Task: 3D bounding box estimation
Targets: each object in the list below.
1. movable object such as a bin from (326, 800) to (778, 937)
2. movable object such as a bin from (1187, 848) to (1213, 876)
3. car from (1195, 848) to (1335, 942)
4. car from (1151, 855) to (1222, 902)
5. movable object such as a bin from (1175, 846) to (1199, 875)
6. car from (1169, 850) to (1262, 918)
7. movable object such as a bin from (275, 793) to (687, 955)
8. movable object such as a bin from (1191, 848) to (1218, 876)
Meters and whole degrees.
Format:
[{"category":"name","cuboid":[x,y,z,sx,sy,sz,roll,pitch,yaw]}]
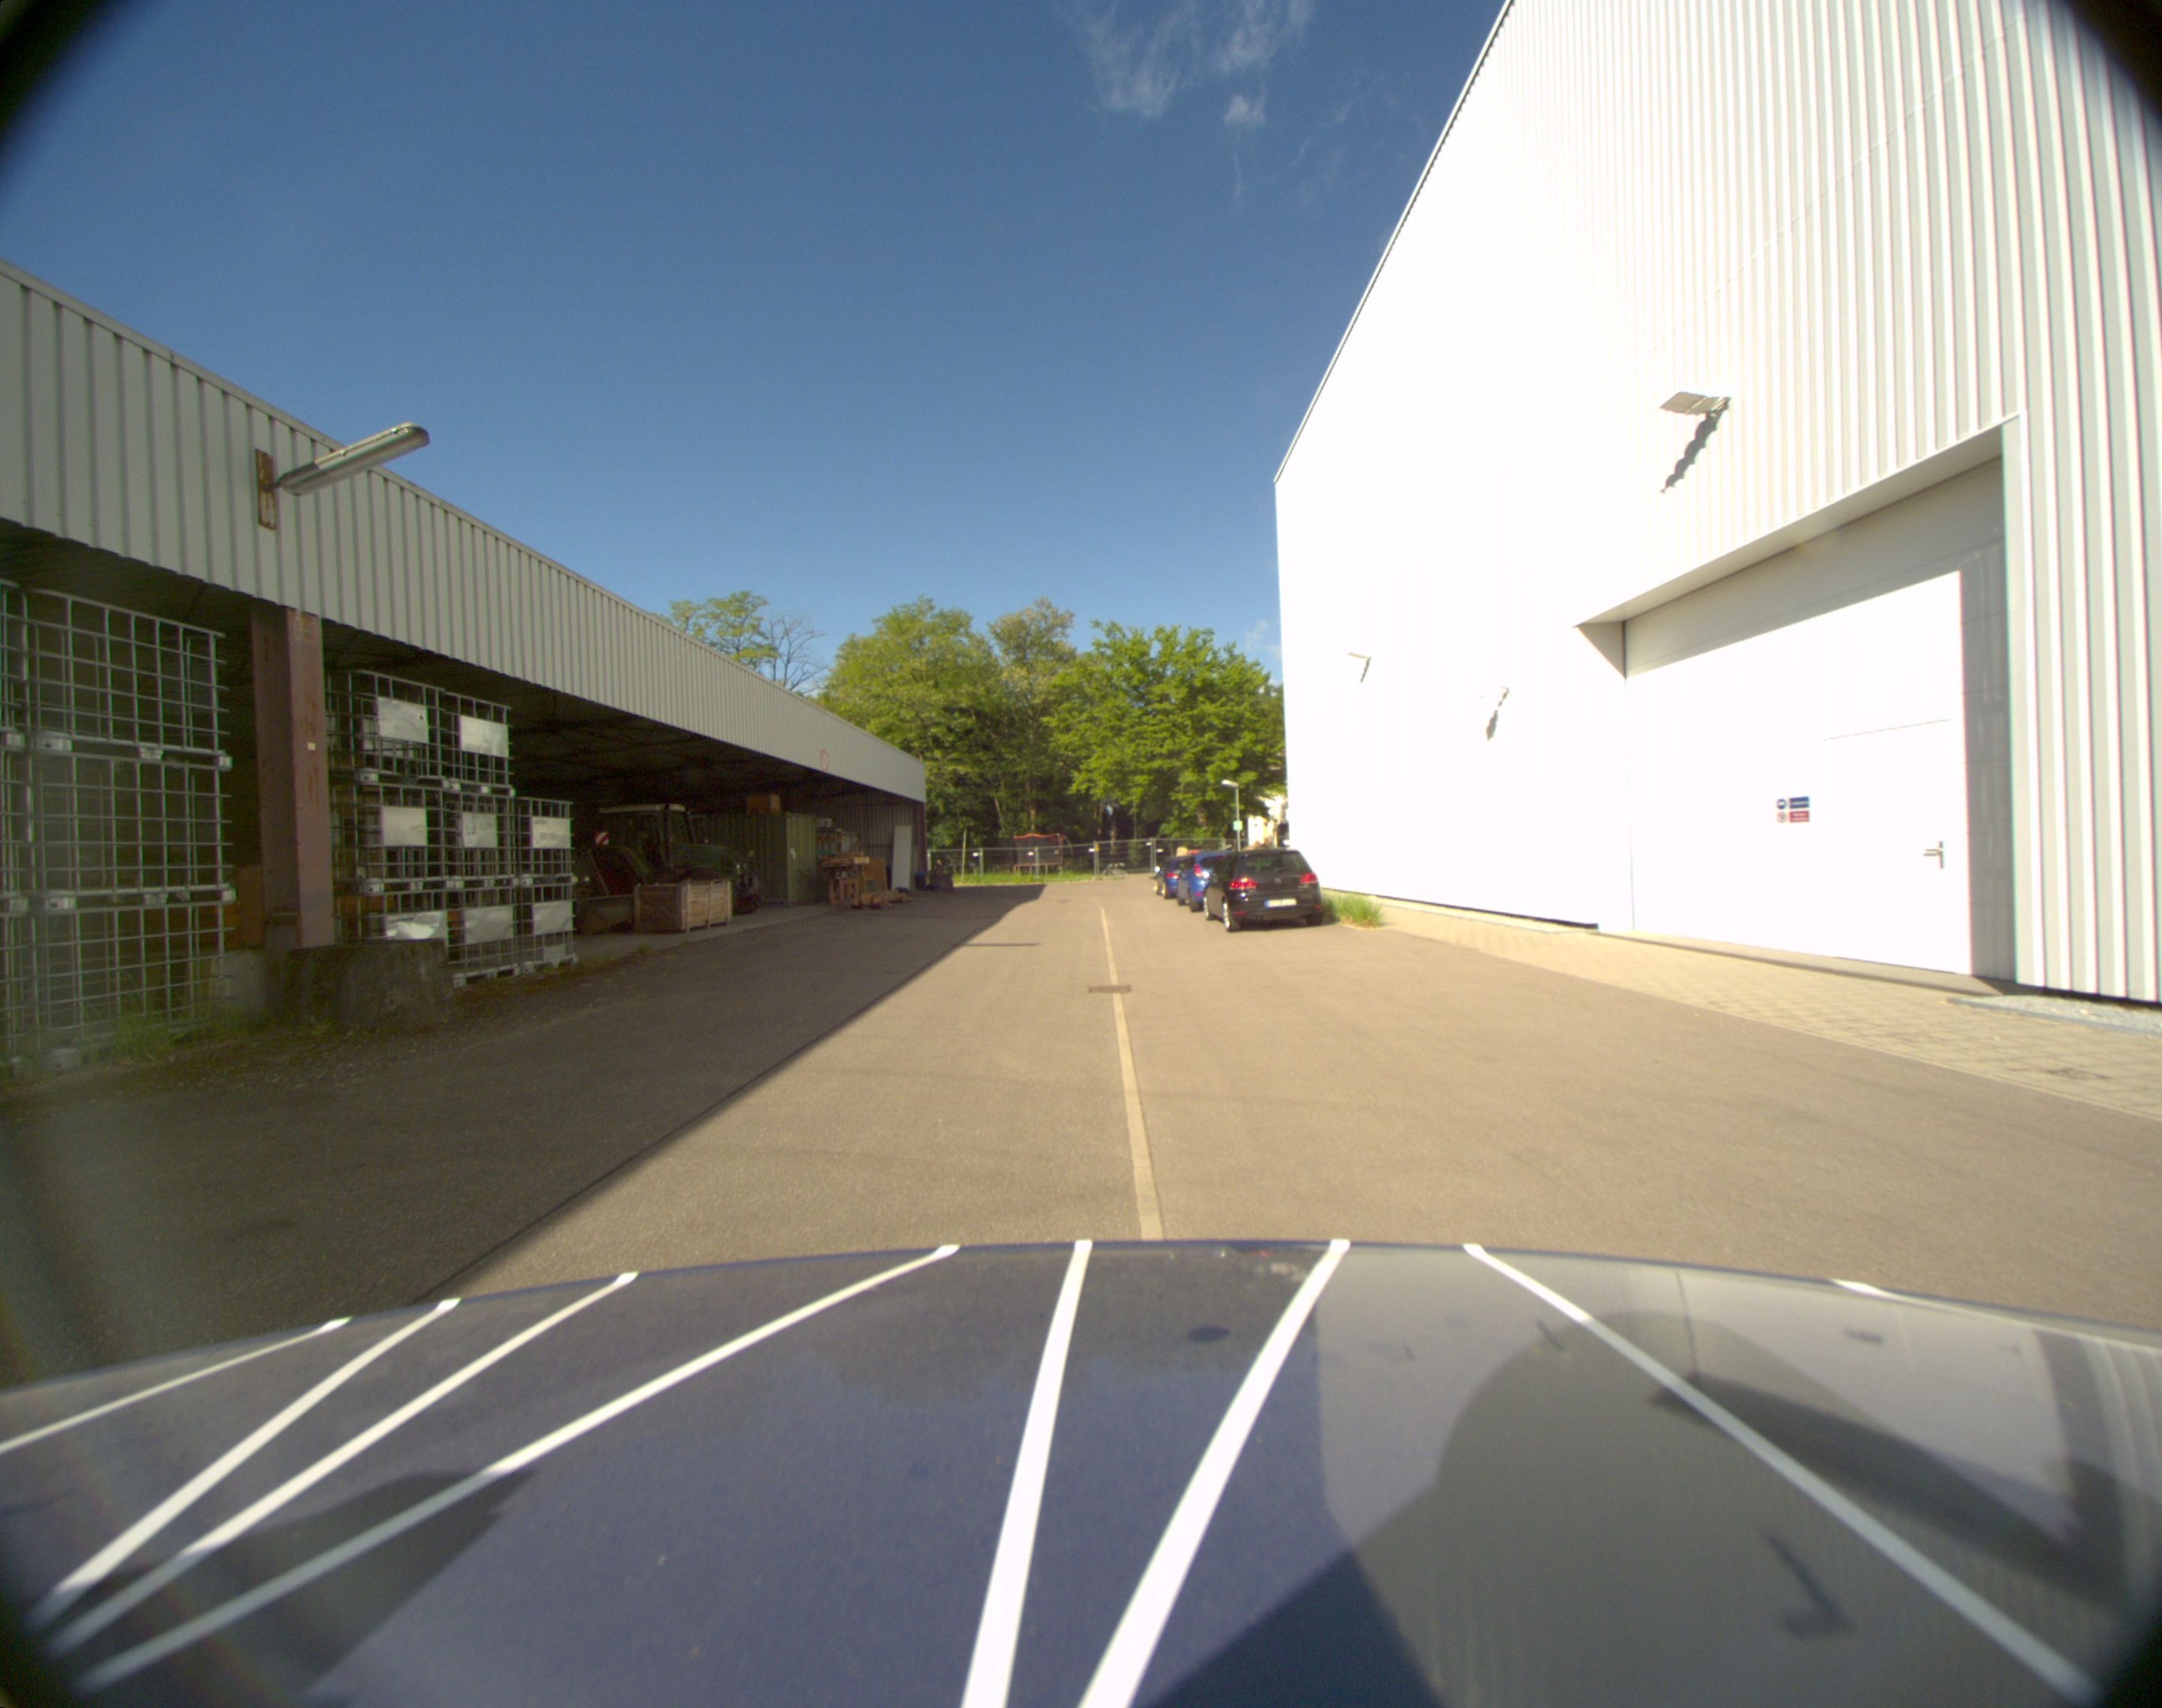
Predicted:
[{"category":"movable object such as a bin","cuboid":[-12.984,0.335,19.282,9.214,2.893,3.212,-2,0,2]},{"category":"movable object such as a bin","cuboid":[6.630,0.431,42.337,1.093,1.431,1.230,-4,1,-5]},{"category":"car","cuboid":[3.462,0.697,15.113,1.759,1.491,4.294,-4,0,1]},{"category":"car","cuboid":[3.479,0.756,25.631,1.778,1.353,4.053,-3,0,0]},{"category":"movable object such as a bin","cuboid":[6.179,0.377,44.241,1.093,1.588,1.230,-3,3,-5]},{"category":"car","cuboid":[3.440,0.715,20.108,1.635,1.491,4.094,-5,0,0]},{"category":"movable object such as a bin","cuboid":[-12.224,0.390,15.967,6.200,2.893,3.016,-2,1,2]},{"category":"movable object such as a bin","cuboid":[6.651,0.434,41.003,1.093,1.424,1.230,-4,1,-5]}]
